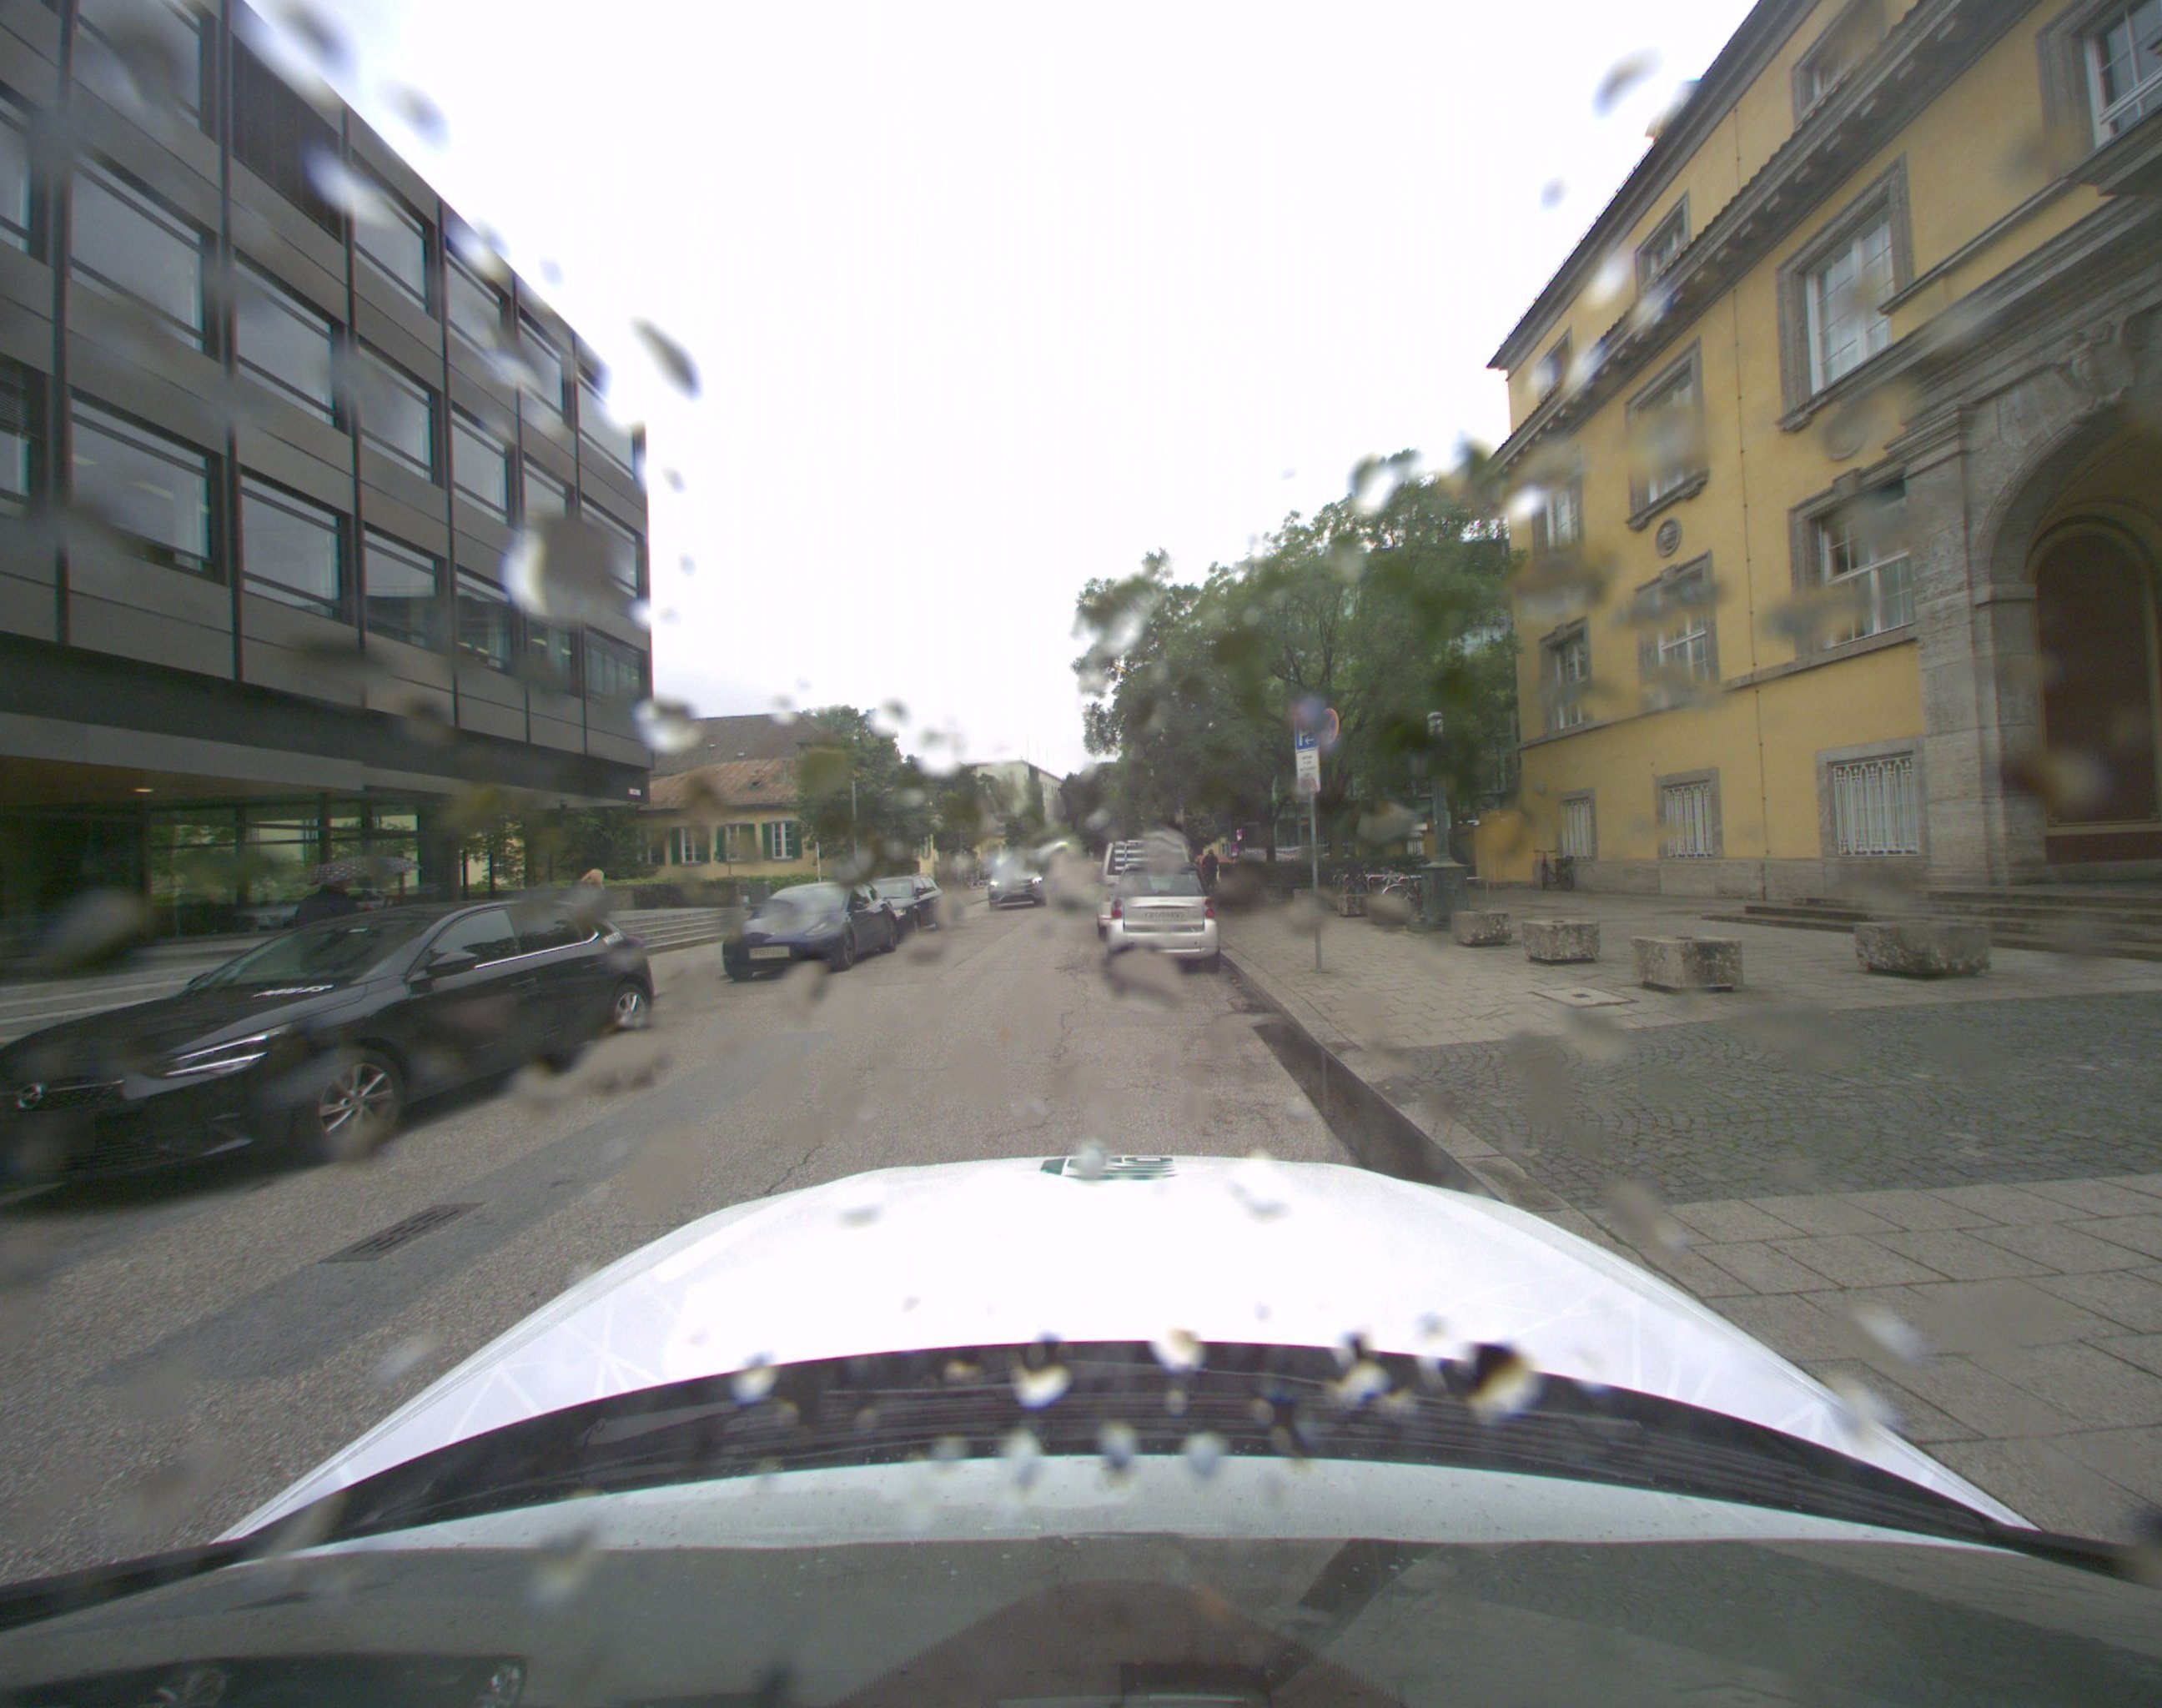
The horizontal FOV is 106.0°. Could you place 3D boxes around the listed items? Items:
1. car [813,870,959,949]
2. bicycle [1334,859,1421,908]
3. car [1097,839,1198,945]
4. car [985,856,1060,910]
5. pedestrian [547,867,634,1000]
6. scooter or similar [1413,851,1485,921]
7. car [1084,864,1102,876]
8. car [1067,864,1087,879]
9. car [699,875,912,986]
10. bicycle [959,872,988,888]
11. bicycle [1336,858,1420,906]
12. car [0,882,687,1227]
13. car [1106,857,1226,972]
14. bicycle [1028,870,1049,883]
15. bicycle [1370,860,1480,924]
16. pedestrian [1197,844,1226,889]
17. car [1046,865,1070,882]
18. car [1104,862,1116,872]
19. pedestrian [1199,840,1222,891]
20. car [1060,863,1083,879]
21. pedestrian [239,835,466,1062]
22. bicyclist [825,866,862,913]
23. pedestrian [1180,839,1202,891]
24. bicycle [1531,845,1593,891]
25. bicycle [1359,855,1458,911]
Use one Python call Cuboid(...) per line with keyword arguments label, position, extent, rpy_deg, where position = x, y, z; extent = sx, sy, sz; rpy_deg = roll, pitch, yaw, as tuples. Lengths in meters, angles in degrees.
Cuboid(label="car", position=(-4.470, 1.218, 19.548), extent=(1.985, 1.491, 4.887), rpy_deg=(-4, -1, 3))
Cuboid(label="bicycle", position=(7.425, 0.736, 20.431), extent=(1.923, 1.113, 0.472), rpy_deg=(-4, -1, 4))
Cuboid(label="car", position=(1.278, 0.724, 17.580), extent=(1.838, 1.933, 5.273), rpy_deg=(0, -1, 1))
Cuboid(label="car", position=(-2.004, 0.993, 29.483), extent=(2.016, 1.689, 4.681), rpy_deg=(-3, -1, 3))
Cuboid(label="pedestrian", position=(-6.854, 1.071, 11.430), extent=(0.754, 1.749, 0.948), rpy_deg=(-2, -1, -14))
Cuboid(label="scooter or similar", position=(6.727, 0.587, 14.893), extent=(0.541, 1.222, 1.000), rpy_deg=(-3, -1, -43))
Cuboid(label="car", position=(1.691, 2.112, 110.903), extent=(1.983, 1.486, 4.007), rpy_deg=(-3, -1, 7))
Cuboid(label="car", position=(-0.455, 1.972, 93.101), extent=(1.985, 1.603, 4.003), rpy_deg=(-2, -2, 4))
Cuboid(label="car", position=(-4.509, 1.165, 14.284), extent=(1.916, 1.439, 4.917), rpy_deg=(-4, -1, 0))
Cuboid(label="bicycle", position=(-7.414, 1.799, 56.203), extent=(1.921, 1.099, 0.615), rpy_deg=(0, -1, 5))
Cuboid(label="bicycle", position=(7.722, 0.724, 21.214), extent=(1.923, 1.113, 0.472), rpy_deg=(-4, -1, 3))
Cuboid(label="car", position=(-4.949, 1.057, 5.991), extent=(1.732, 1.461, 4.240), rpy_deg=(-5, -1, 3))
Cuboid(label="car", position=(1.207, 0.834, 12.475), extent=(1.599, 1.546, 2.935), rpy_deg=(0, -1, 2))
Cuboid(label="bicycle", position=(-3.694, 1.957, 70.993), extent=(0.615, 1.004, 2.154), rpy_deg=(0, 0, 35))
Cuboid(label="bicycle", position=(6.820, 0.746, 16.181), extent=(1.926, 1.113, 0.471), rpy_deg=(-4, -1, -1))
Cuboid(label="pedestrian", position=(5.819, 0.558, 36.212), extent=(0.735, 1.907, 1.062), rpy_deg=(-4, -1, 37))
Cuboid(label="car", position=(-2.109, 1.792, 75.464), extent=(1.725, 1.581, 3.793), rpy_deg=(0, -1, 5))
Cuboid(label="car", position=(5.058, 2.275, 142.174), extent=(1.802, 1.683, 4.005), rpy_deg=(-3, -1, 4))
Cuboid(label="pedestrian", position=(5.574, 0.481, 35.006), extent=(0.740, 2.135, 1.056), rpy_deg=(-3, -1, 1))
Cuboid(label="car", position=(-0.953, 1.789, 88.032), extent=(1.984, 1.648, 4.661), rpy_deg=(-2, -1, 5))
Cuboid(label="pedestrian", position=(-7.136, 0.874, 8.070), extent=(1.131, 2.055, 1.221), rpy_deg=(-1, -1, 1))
Cuboid(label="bicyclist", position=(-7.787, 1.158, 26.702), extent=(1.095, 1.498, 0.669), rpy_deg=(-2, -3, -22))
Cuboid(label="pedestrian", position=(4.735, 0.475, 35.169), extent=(0.740, 2.135, 1.056), rpy_deg=(-3, -1, 1))
Cuboid(label="bicycle", position=(13.139, 0.369, 22.315), extent=(0.540, 1.154, 1.902), rpy_deg=(-3, 0, 1))
Cuboid(label="bicycle", position=(7.273, 0.639, 18.133), extent=(1.923, 1.113, 0.472), rpy_deg=(-4, -1, 4))
